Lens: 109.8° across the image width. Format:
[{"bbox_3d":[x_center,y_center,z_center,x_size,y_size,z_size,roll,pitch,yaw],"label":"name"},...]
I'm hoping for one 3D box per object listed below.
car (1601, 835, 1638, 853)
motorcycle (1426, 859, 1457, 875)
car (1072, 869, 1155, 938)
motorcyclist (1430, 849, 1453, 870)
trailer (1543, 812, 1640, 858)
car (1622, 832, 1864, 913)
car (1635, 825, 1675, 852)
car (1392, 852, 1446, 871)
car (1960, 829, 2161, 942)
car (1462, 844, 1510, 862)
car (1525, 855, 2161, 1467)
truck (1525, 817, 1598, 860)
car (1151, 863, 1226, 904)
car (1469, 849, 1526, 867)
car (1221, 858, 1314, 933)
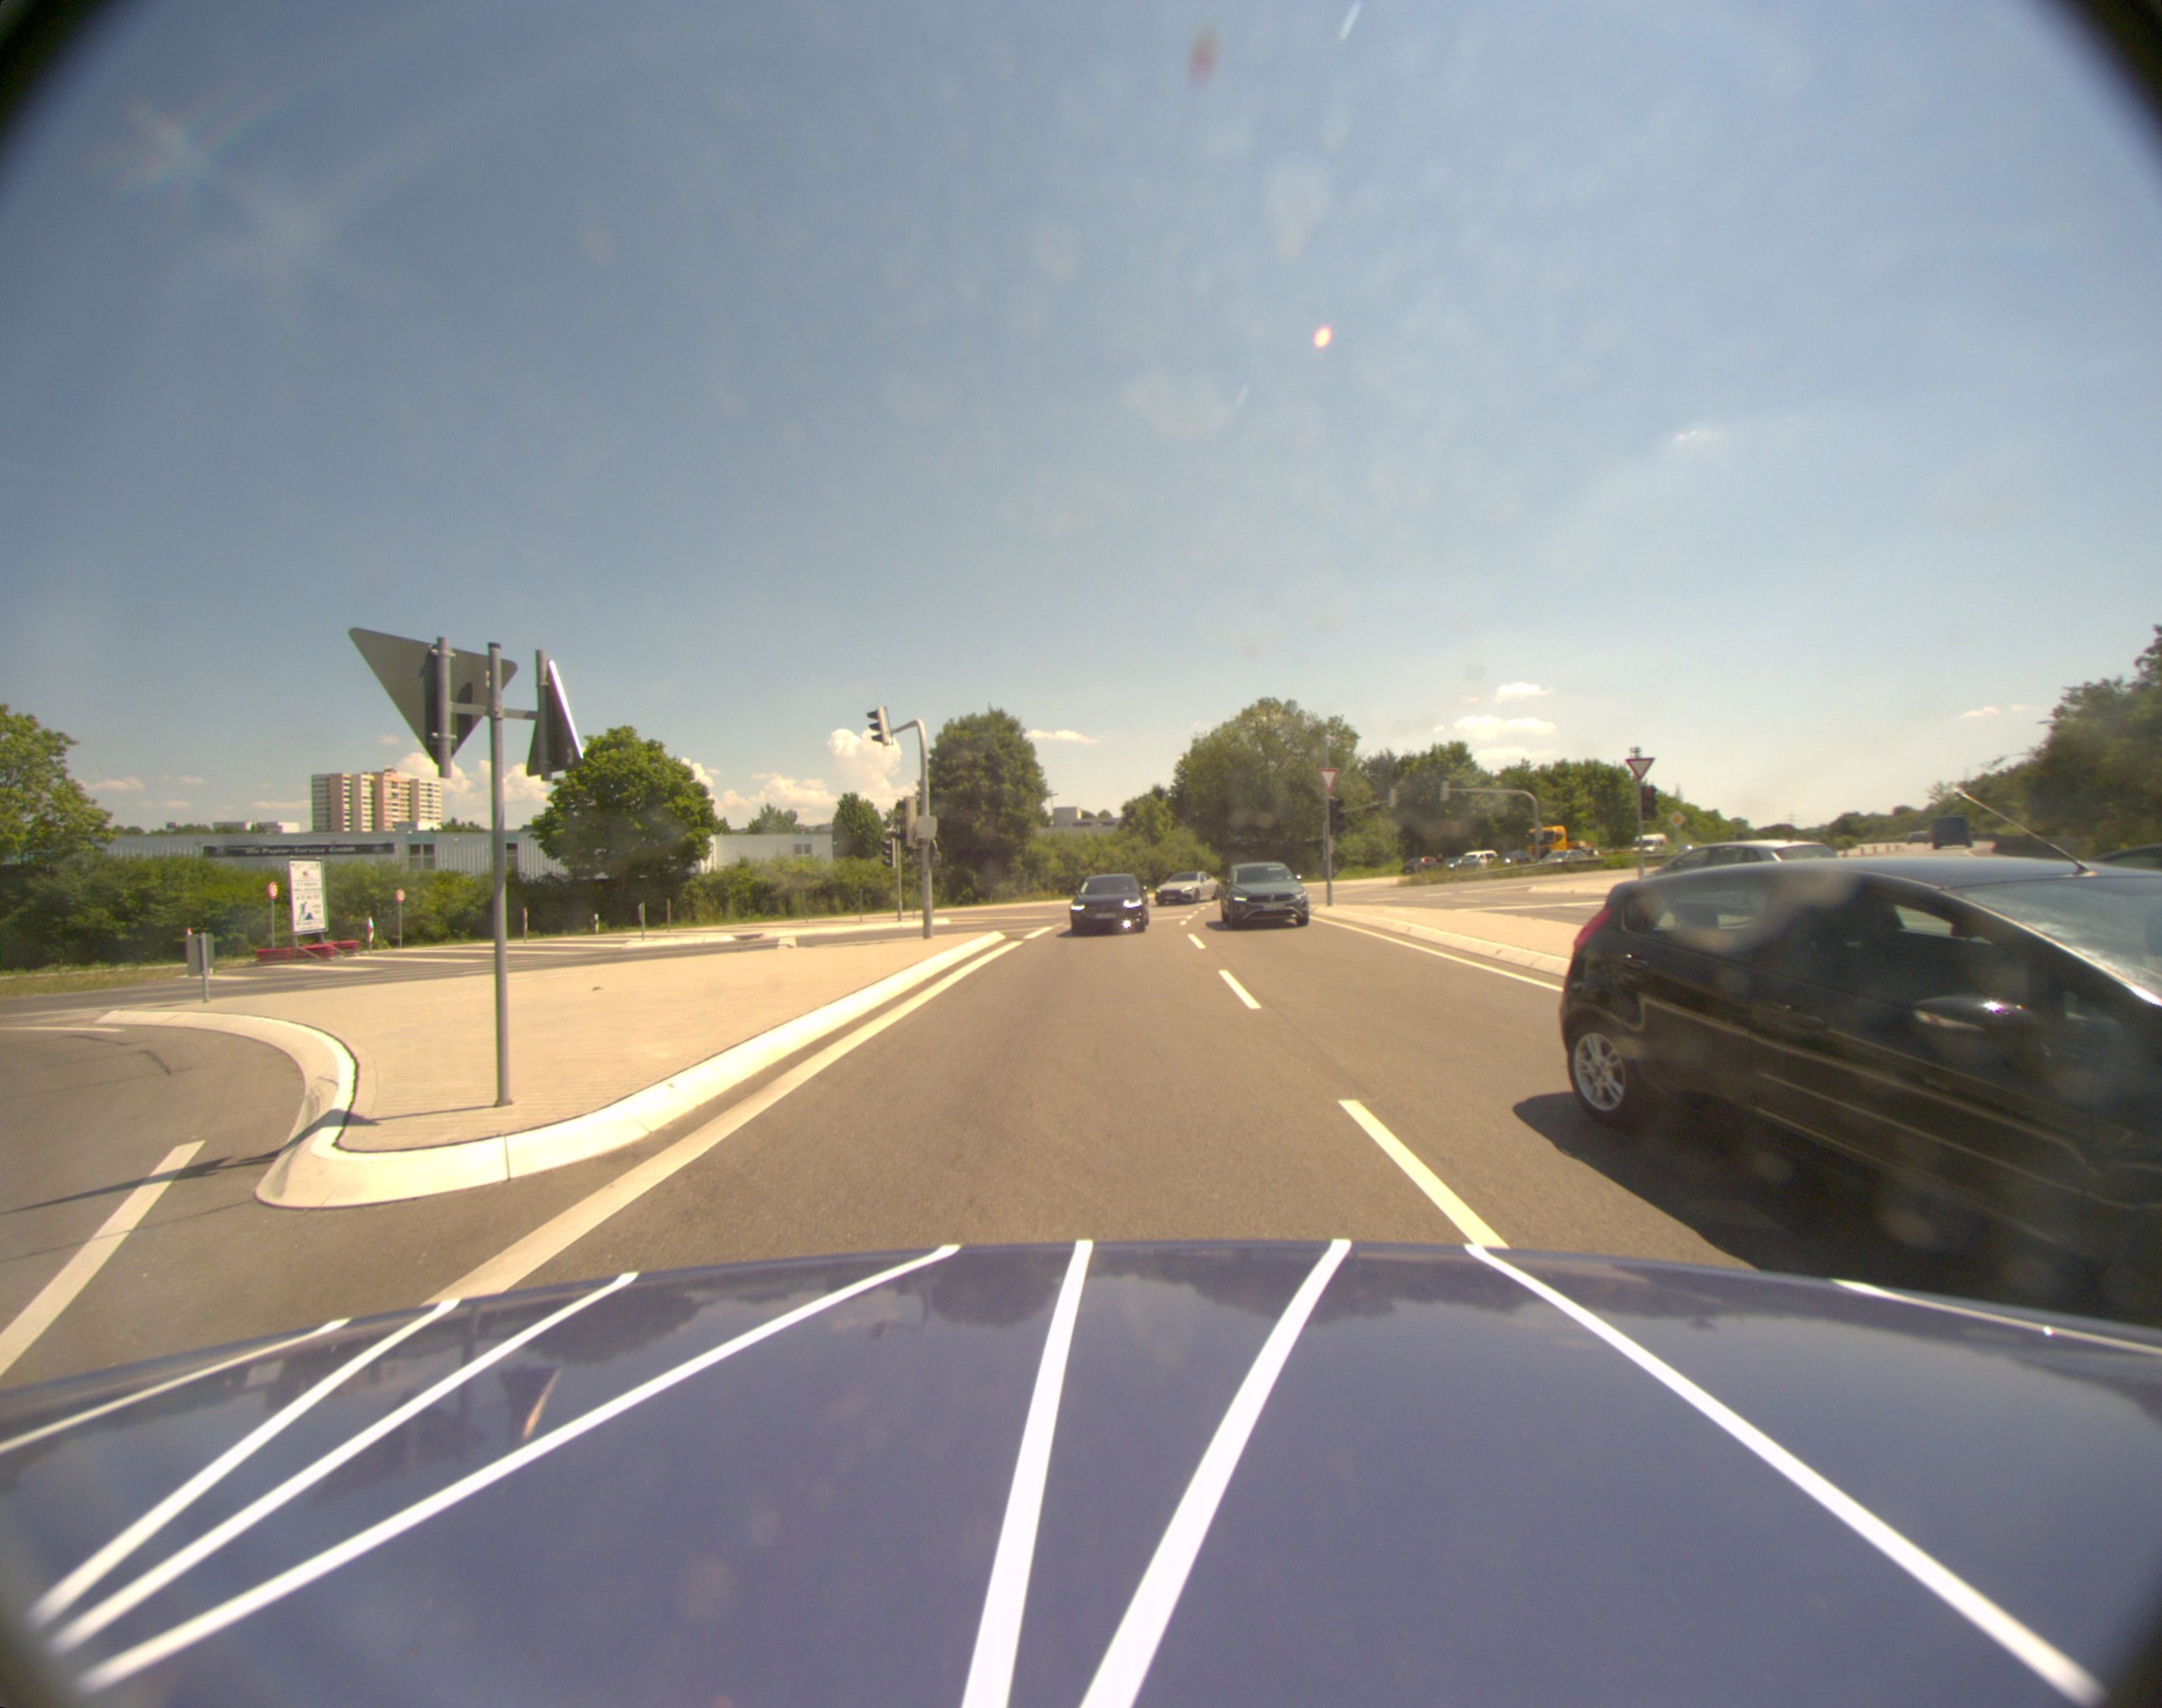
[{"bbox_3d":[55.915,-1.042,78.924,3.939,1.679,2.164,-3,0,-40],"label":"car"},{"bbox_3d":[25.452,0.928,53.645,2.074,1.132,0.733,1,1,-18],"label":"motorcycle"},{"bbox_3d":[0.961,1.206,19.745,1.779,1.497,4.564,-4,-2,6],"label":"car"},{"bbox_3d":[25.463,0.365,53.663,1.163,1.480,0.860,0,1,-18],"label":"motorcyclist"},{"bbox_3d":[48.662,-1.891,72.189,13.194,4.039,3.066,-2,0,-35],"label":"trailer"},{"bbox_3d":[15.312,0.399,17.953,1.613,1.590,4.352,-3,0,-5],"label":"car"},{"bbox_3d":[61.728,-1.678,81.650,5.490,2.592,2.164,-3,0,-40],"label":"car"},{"bbox_3d":[28.452,0.624,64.033,4.005,1.444,1.996,-2,0,-26],"label":"car"},{"bbox_3d":[15.081,0.387,10.107,1.998,1.430,4.223,-3,0,4],"label":"car"},{"bbox_3d":[36.548,-0.077,68.606,4.005,1.444,1.778,-3,0,-26],"label":"car"},{"bbox_3d":[3.559,0.778,2.657,1.657,1.485,4.208,-1,0,2],"label":"car"},{"bbox_3d":[43.360,-1.419,68.512,6.868,3.517,2.979,-3,0,-34],"label":"truck"},{"bbox_3d":[5.032,1.329,35.080,1.930,1.577,4.187,-3,0,30],"label":"car"},{"bbox_3d":[33.077,0.342,60.385,4.005,1.182,1.996,-3,0,-26],"label":"car"},{"bbox_3d":[4.522,0.985,19.012,1.838,1.576,4.395,-3,-2,9],"label":"car"}]
